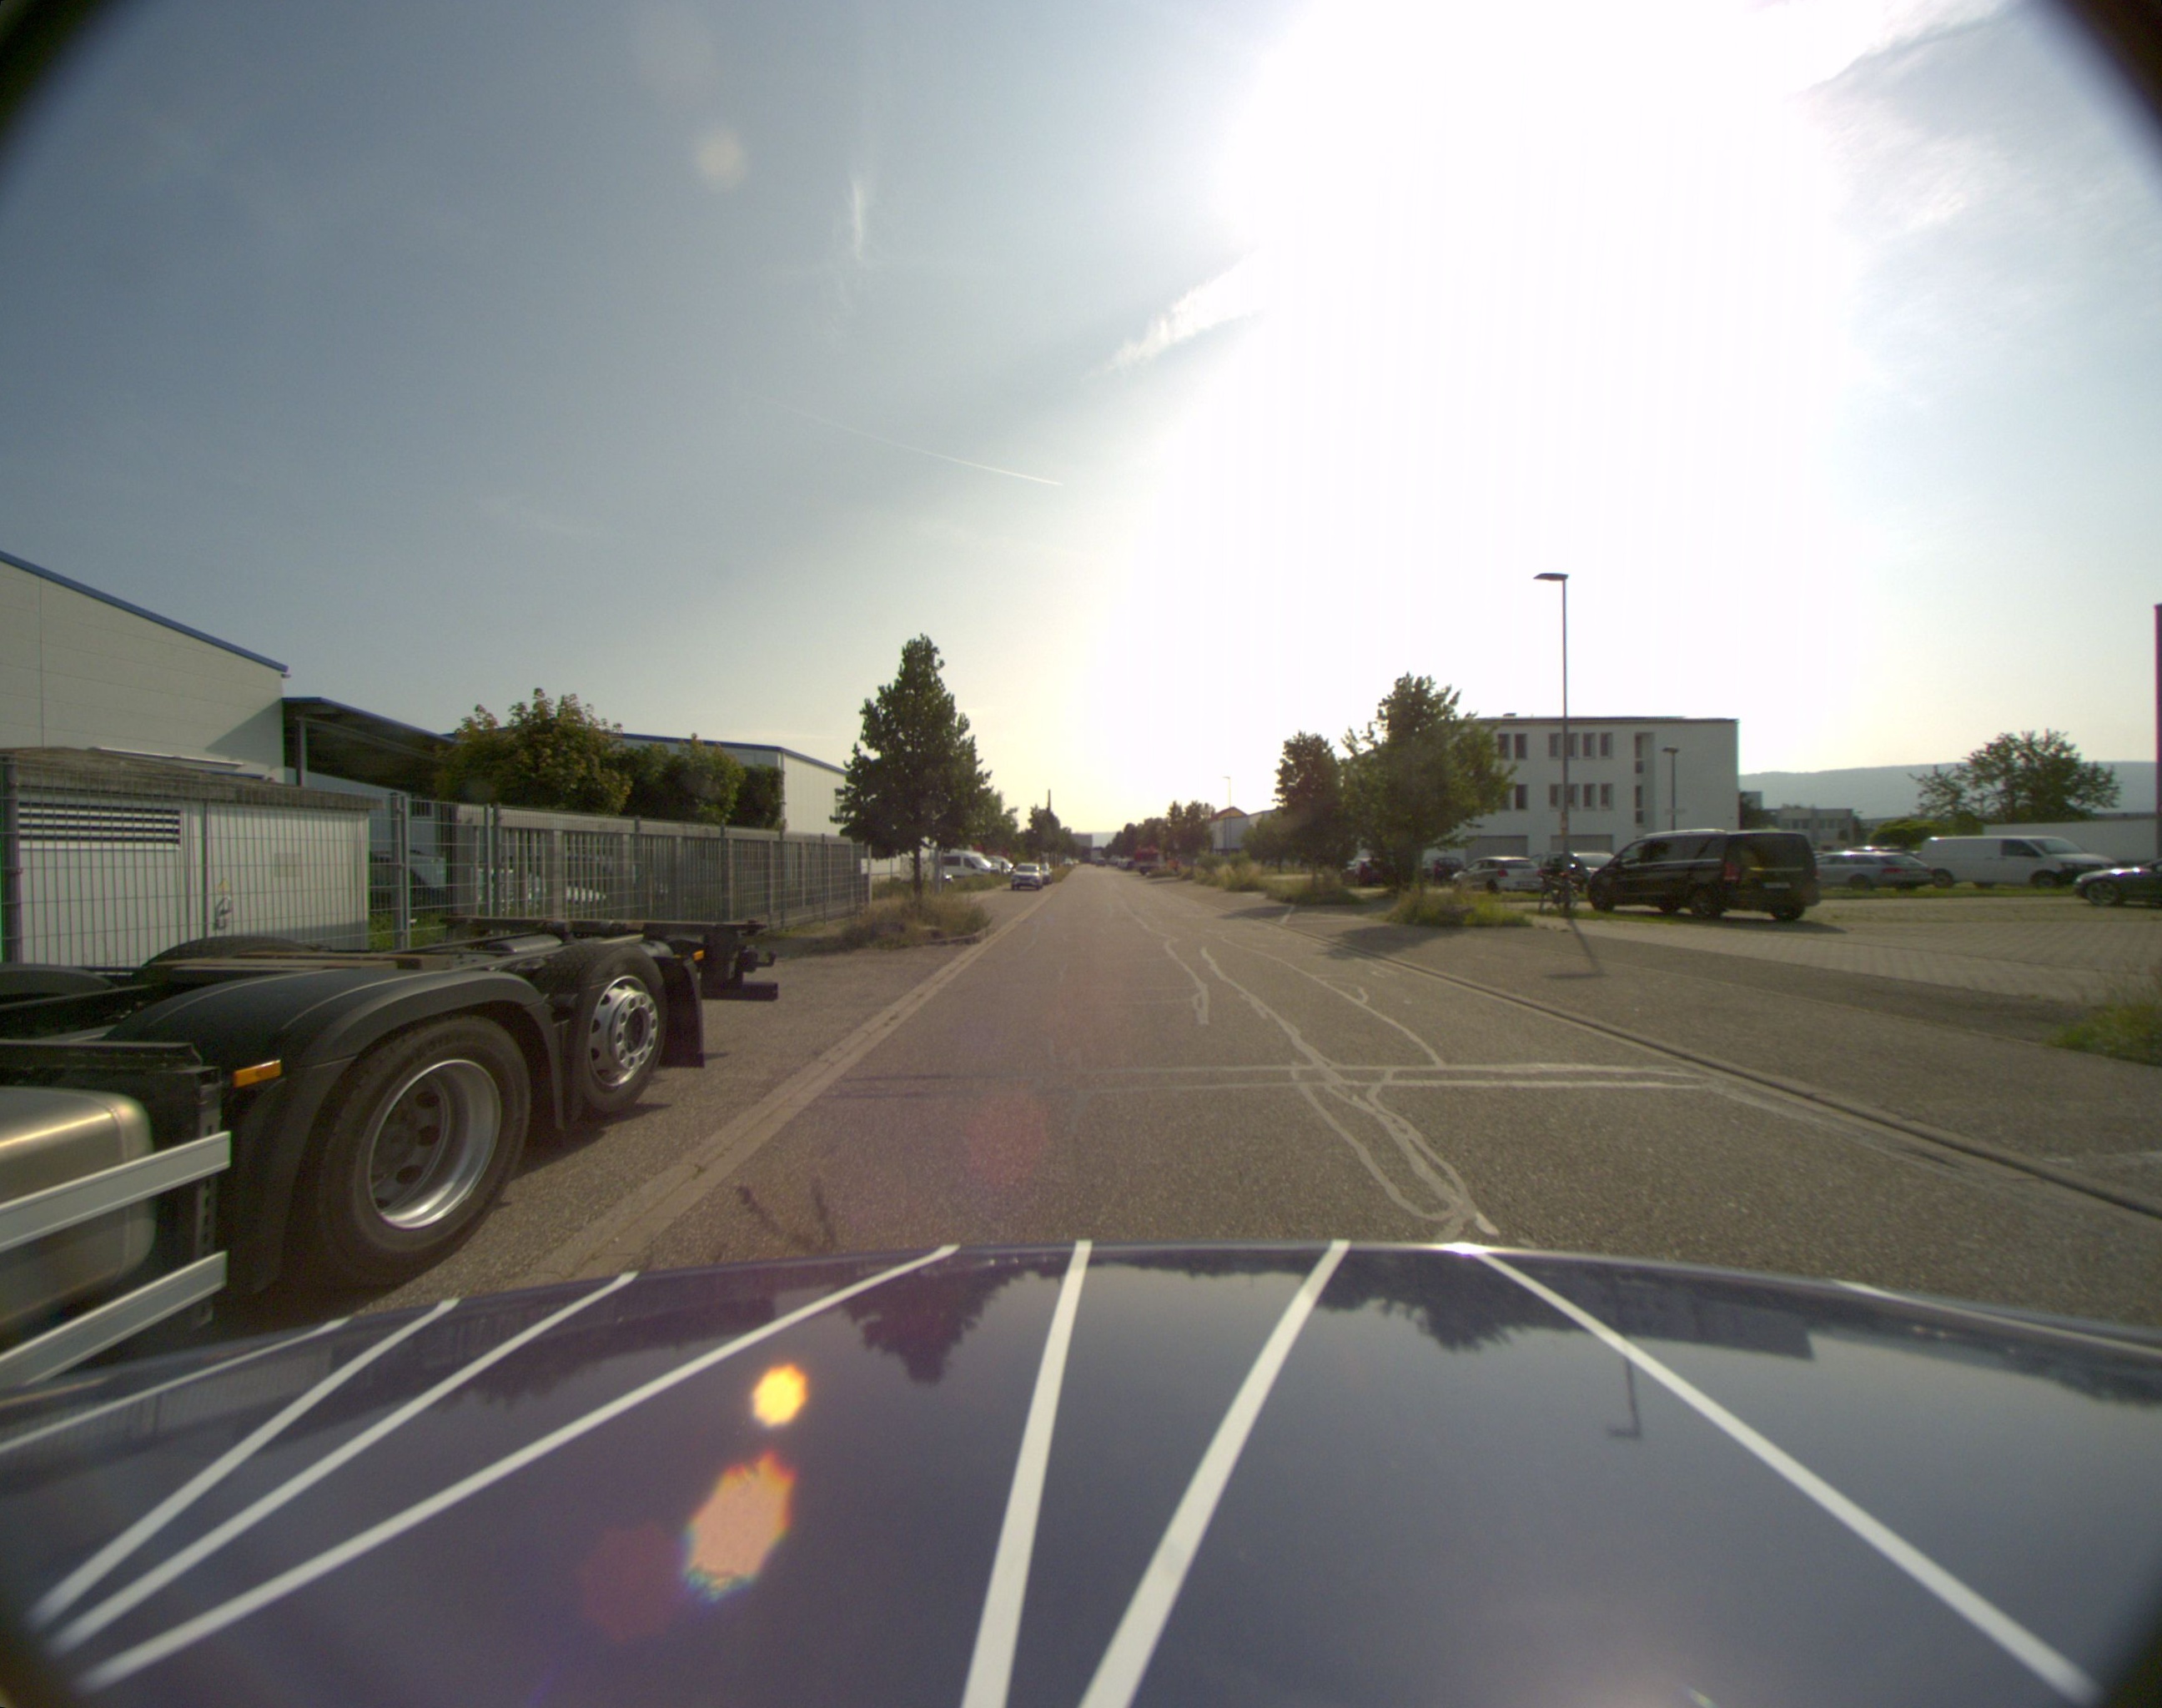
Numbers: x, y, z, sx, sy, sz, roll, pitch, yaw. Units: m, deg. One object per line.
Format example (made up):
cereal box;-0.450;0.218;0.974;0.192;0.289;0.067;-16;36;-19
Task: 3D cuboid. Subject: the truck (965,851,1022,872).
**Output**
truck;-8.929;0.781;77.198;5.815;2.010;2.280;-1;0;38

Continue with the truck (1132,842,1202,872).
truck;8.750;0.332;76.268;2.507;2.817;8.864;2;0;39

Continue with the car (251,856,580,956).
car;-12.753;0.939;14.841;4.498;1.712;1.999;-1;0;-4

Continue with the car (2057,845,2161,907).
car;26.430;0.503;17.522;1.719;1.452;4.782;-1;0;0

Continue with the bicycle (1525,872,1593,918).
bicycle;11.272;0.935;17.991;0.541;0.973;1.871;-1;0;4

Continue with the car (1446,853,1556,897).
car;15.191;0.707;27.753;1.790;1.441;3.917;-1;0;-1

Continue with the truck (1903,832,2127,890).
truck;33.754;0.217;27.742;1.999;1.892;4.952;-1;0;-2

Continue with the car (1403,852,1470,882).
car;18.580;0.653;39.916;1.758;1.459;3.918;-1;0;2

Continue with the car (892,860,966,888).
car;-8.662;1.112;43.260;3.989;1.489;1.902;-1;0;36

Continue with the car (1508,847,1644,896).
car;17.704;0.591;27.476;1.947;1.597;4.509;-1;0;0

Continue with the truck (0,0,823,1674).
truck;-3.551;-0.343;1.444;2.752;3.991;9.685;1;0;0

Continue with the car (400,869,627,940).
car;-12.993;1.132;17.548;4.015;1.453;1.754;-1;0;5

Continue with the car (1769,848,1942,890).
car;28.037;0.498;27.750;1.737;1.364;4.381;-1;0;-3

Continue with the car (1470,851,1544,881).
car;22.183;0.595;39.760;1.758;1.459;3.918;-1;0;2

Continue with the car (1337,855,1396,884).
car;14.971;0.797;40.071;1.758;1.401;3.918;-1;0;2

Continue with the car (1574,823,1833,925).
car;13.875;0.411;17.448;1.886;2.002;4.991;0;0;0

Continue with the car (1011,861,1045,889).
car;-2.978;1.178;43.560;1.668;1.495;3.541;1;0;0

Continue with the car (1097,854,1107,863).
car;3.912;0.786;141.742;1.668;1.495;3.540;-1;1;0

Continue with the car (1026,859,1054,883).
car;-2.753;1.141;51.777;1.694;1.495;3.541;1;0;0

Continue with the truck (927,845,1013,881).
truck;-8.184;0.645;55.722;6.194;2.516;2.280;0;1;33

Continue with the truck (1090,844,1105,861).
truck;4.130;-0.441;193.841;3.413;4.017;10.394;-3;0;0
